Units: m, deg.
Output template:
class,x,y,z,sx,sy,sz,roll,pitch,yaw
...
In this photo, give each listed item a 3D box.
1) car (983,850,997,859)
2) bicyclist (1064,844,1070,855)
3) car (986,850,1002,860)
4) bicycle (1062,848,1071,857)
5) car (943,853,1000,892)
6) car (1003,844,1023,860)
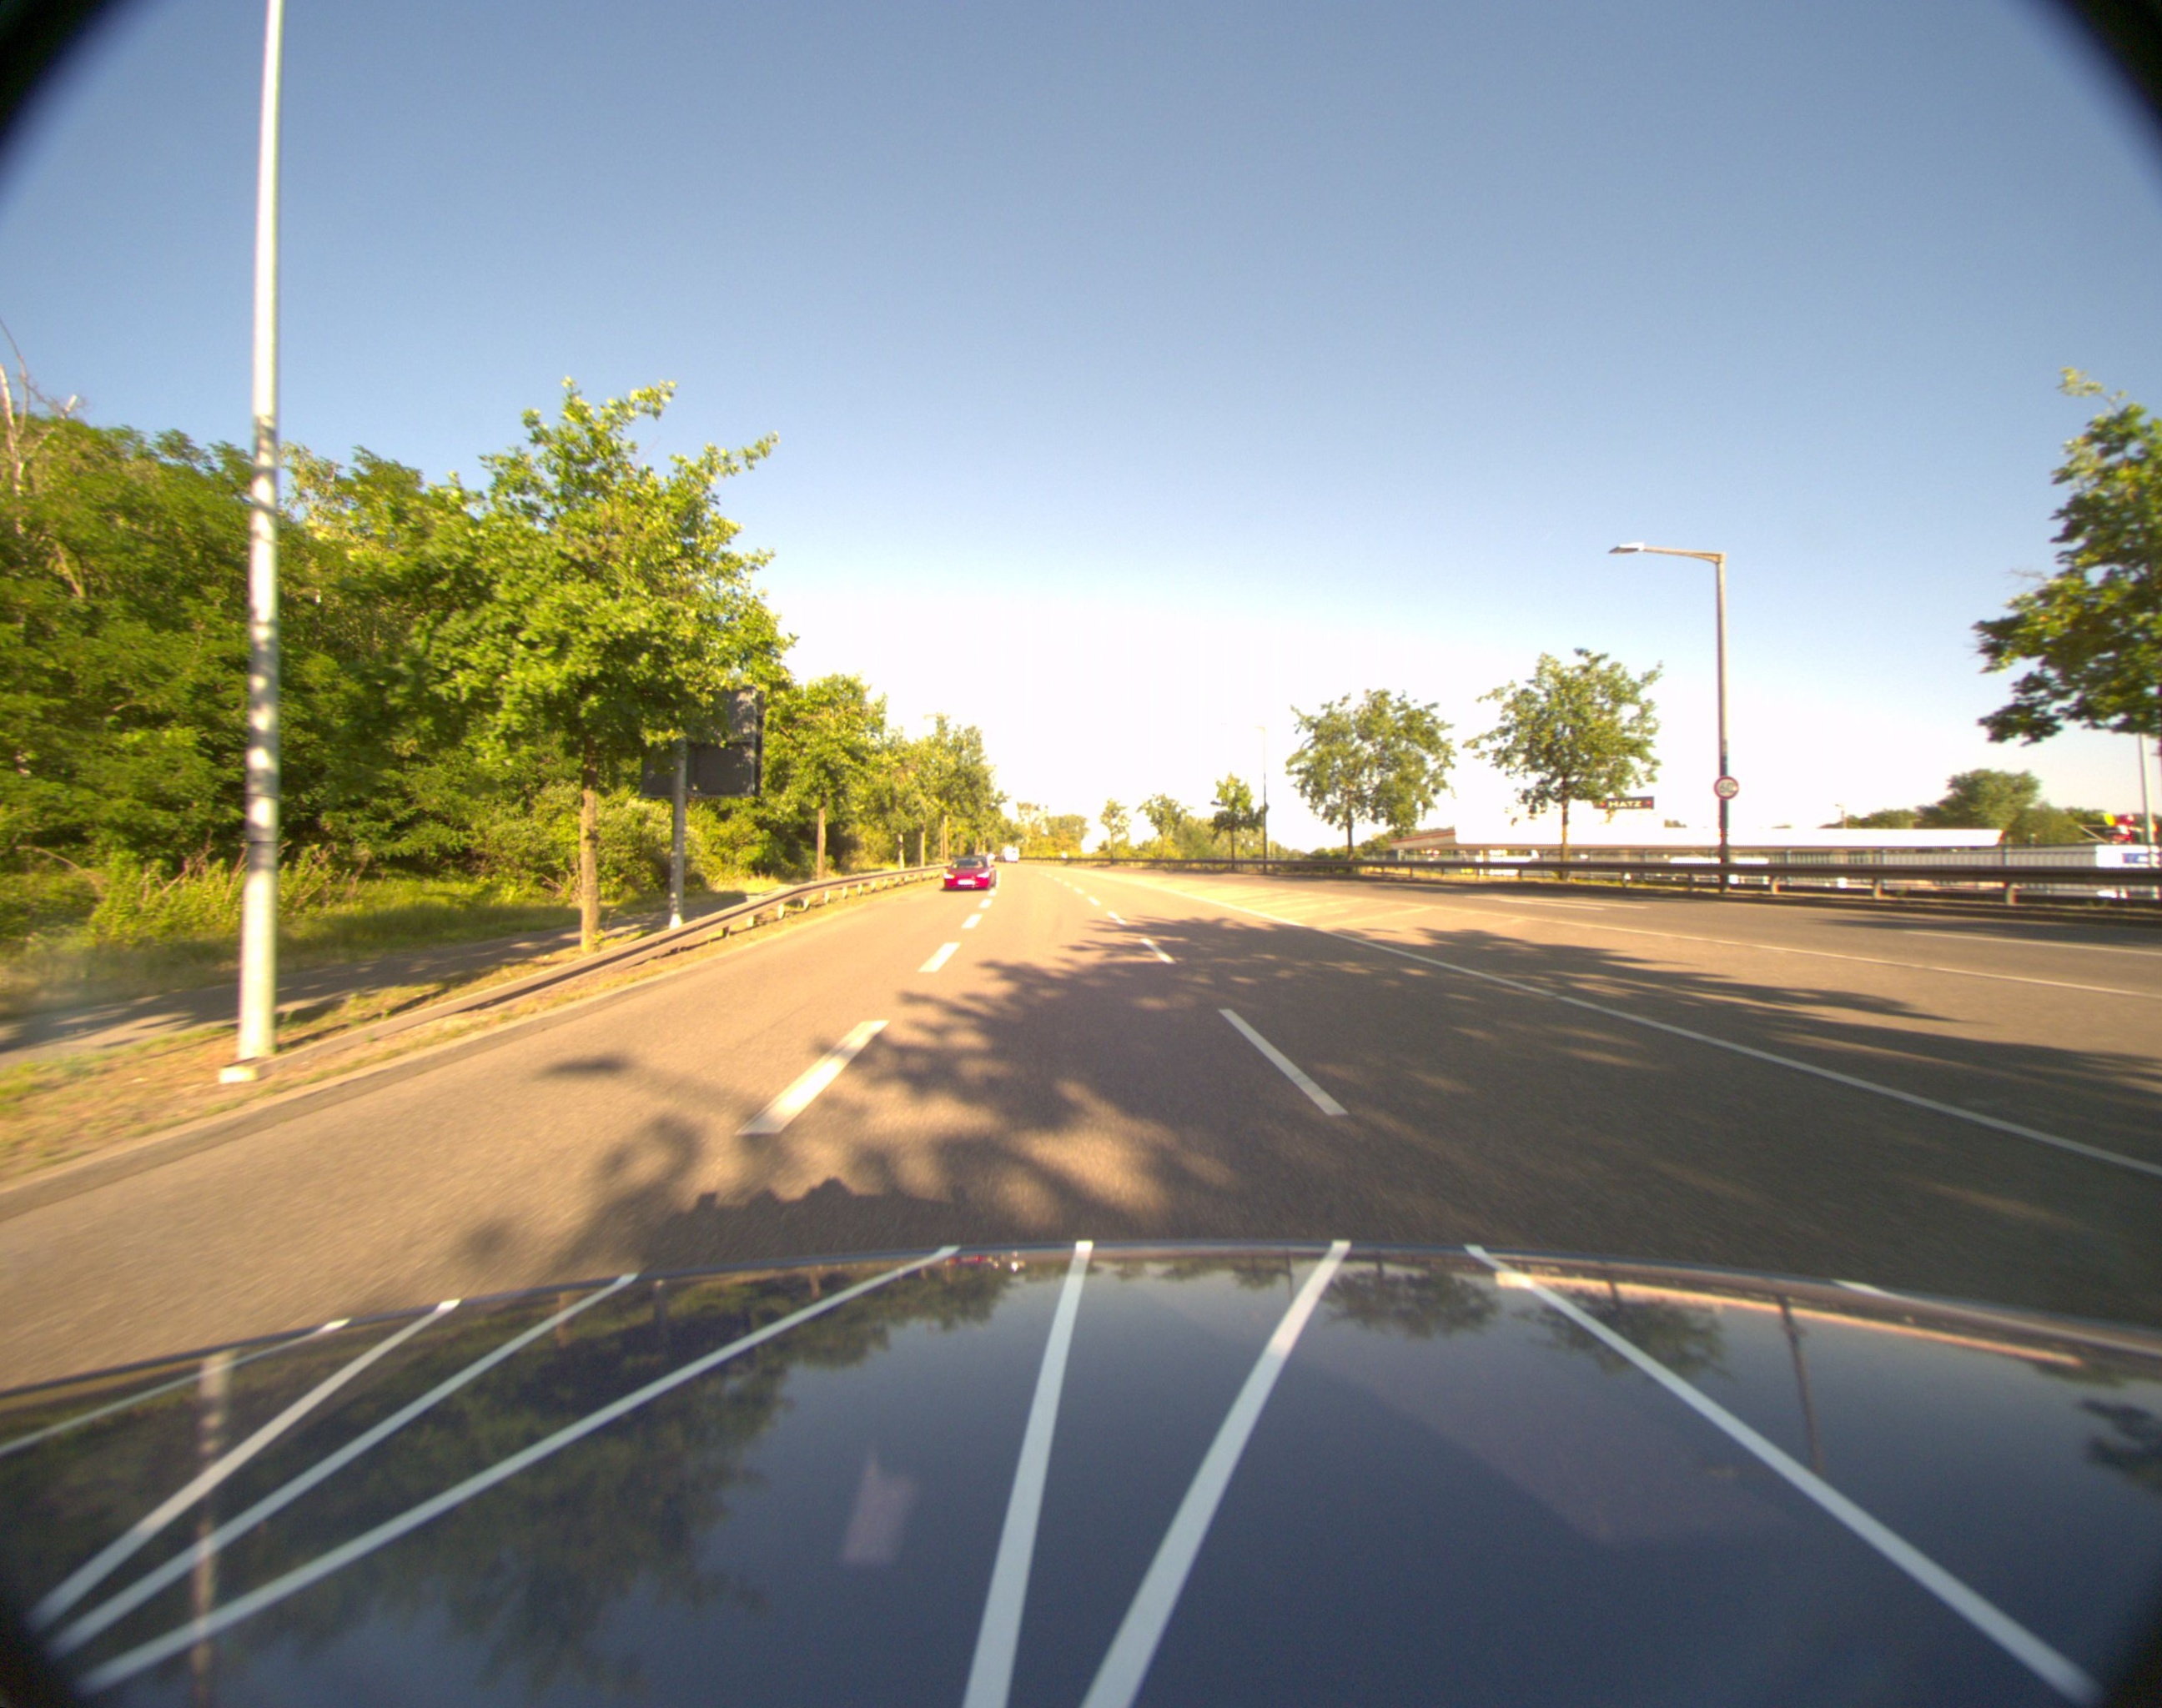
class,x,y,z,sx,sy,sz,roll,pitch,yaw
car,-16.626,-0.004,138.168,1.835,1.580,4.641,0,1,-16
bicyclist,-1.794,-0.590,96.211,0.601,1.451,0.827,2,1,-14
car,-13.683,0.175,119.364,1.779,1.457,4.376,0,1,-16
bicycle,-1.890,-0.193,96.404,0.584,1.071,2.309,2,1,-14
car,-4.500,0.729,31.824,1.782,1.434,4.358,-1,1,-1
car,-9.271,-0.339,103.226,1.885,2.002,5.252,-2,1,-14
